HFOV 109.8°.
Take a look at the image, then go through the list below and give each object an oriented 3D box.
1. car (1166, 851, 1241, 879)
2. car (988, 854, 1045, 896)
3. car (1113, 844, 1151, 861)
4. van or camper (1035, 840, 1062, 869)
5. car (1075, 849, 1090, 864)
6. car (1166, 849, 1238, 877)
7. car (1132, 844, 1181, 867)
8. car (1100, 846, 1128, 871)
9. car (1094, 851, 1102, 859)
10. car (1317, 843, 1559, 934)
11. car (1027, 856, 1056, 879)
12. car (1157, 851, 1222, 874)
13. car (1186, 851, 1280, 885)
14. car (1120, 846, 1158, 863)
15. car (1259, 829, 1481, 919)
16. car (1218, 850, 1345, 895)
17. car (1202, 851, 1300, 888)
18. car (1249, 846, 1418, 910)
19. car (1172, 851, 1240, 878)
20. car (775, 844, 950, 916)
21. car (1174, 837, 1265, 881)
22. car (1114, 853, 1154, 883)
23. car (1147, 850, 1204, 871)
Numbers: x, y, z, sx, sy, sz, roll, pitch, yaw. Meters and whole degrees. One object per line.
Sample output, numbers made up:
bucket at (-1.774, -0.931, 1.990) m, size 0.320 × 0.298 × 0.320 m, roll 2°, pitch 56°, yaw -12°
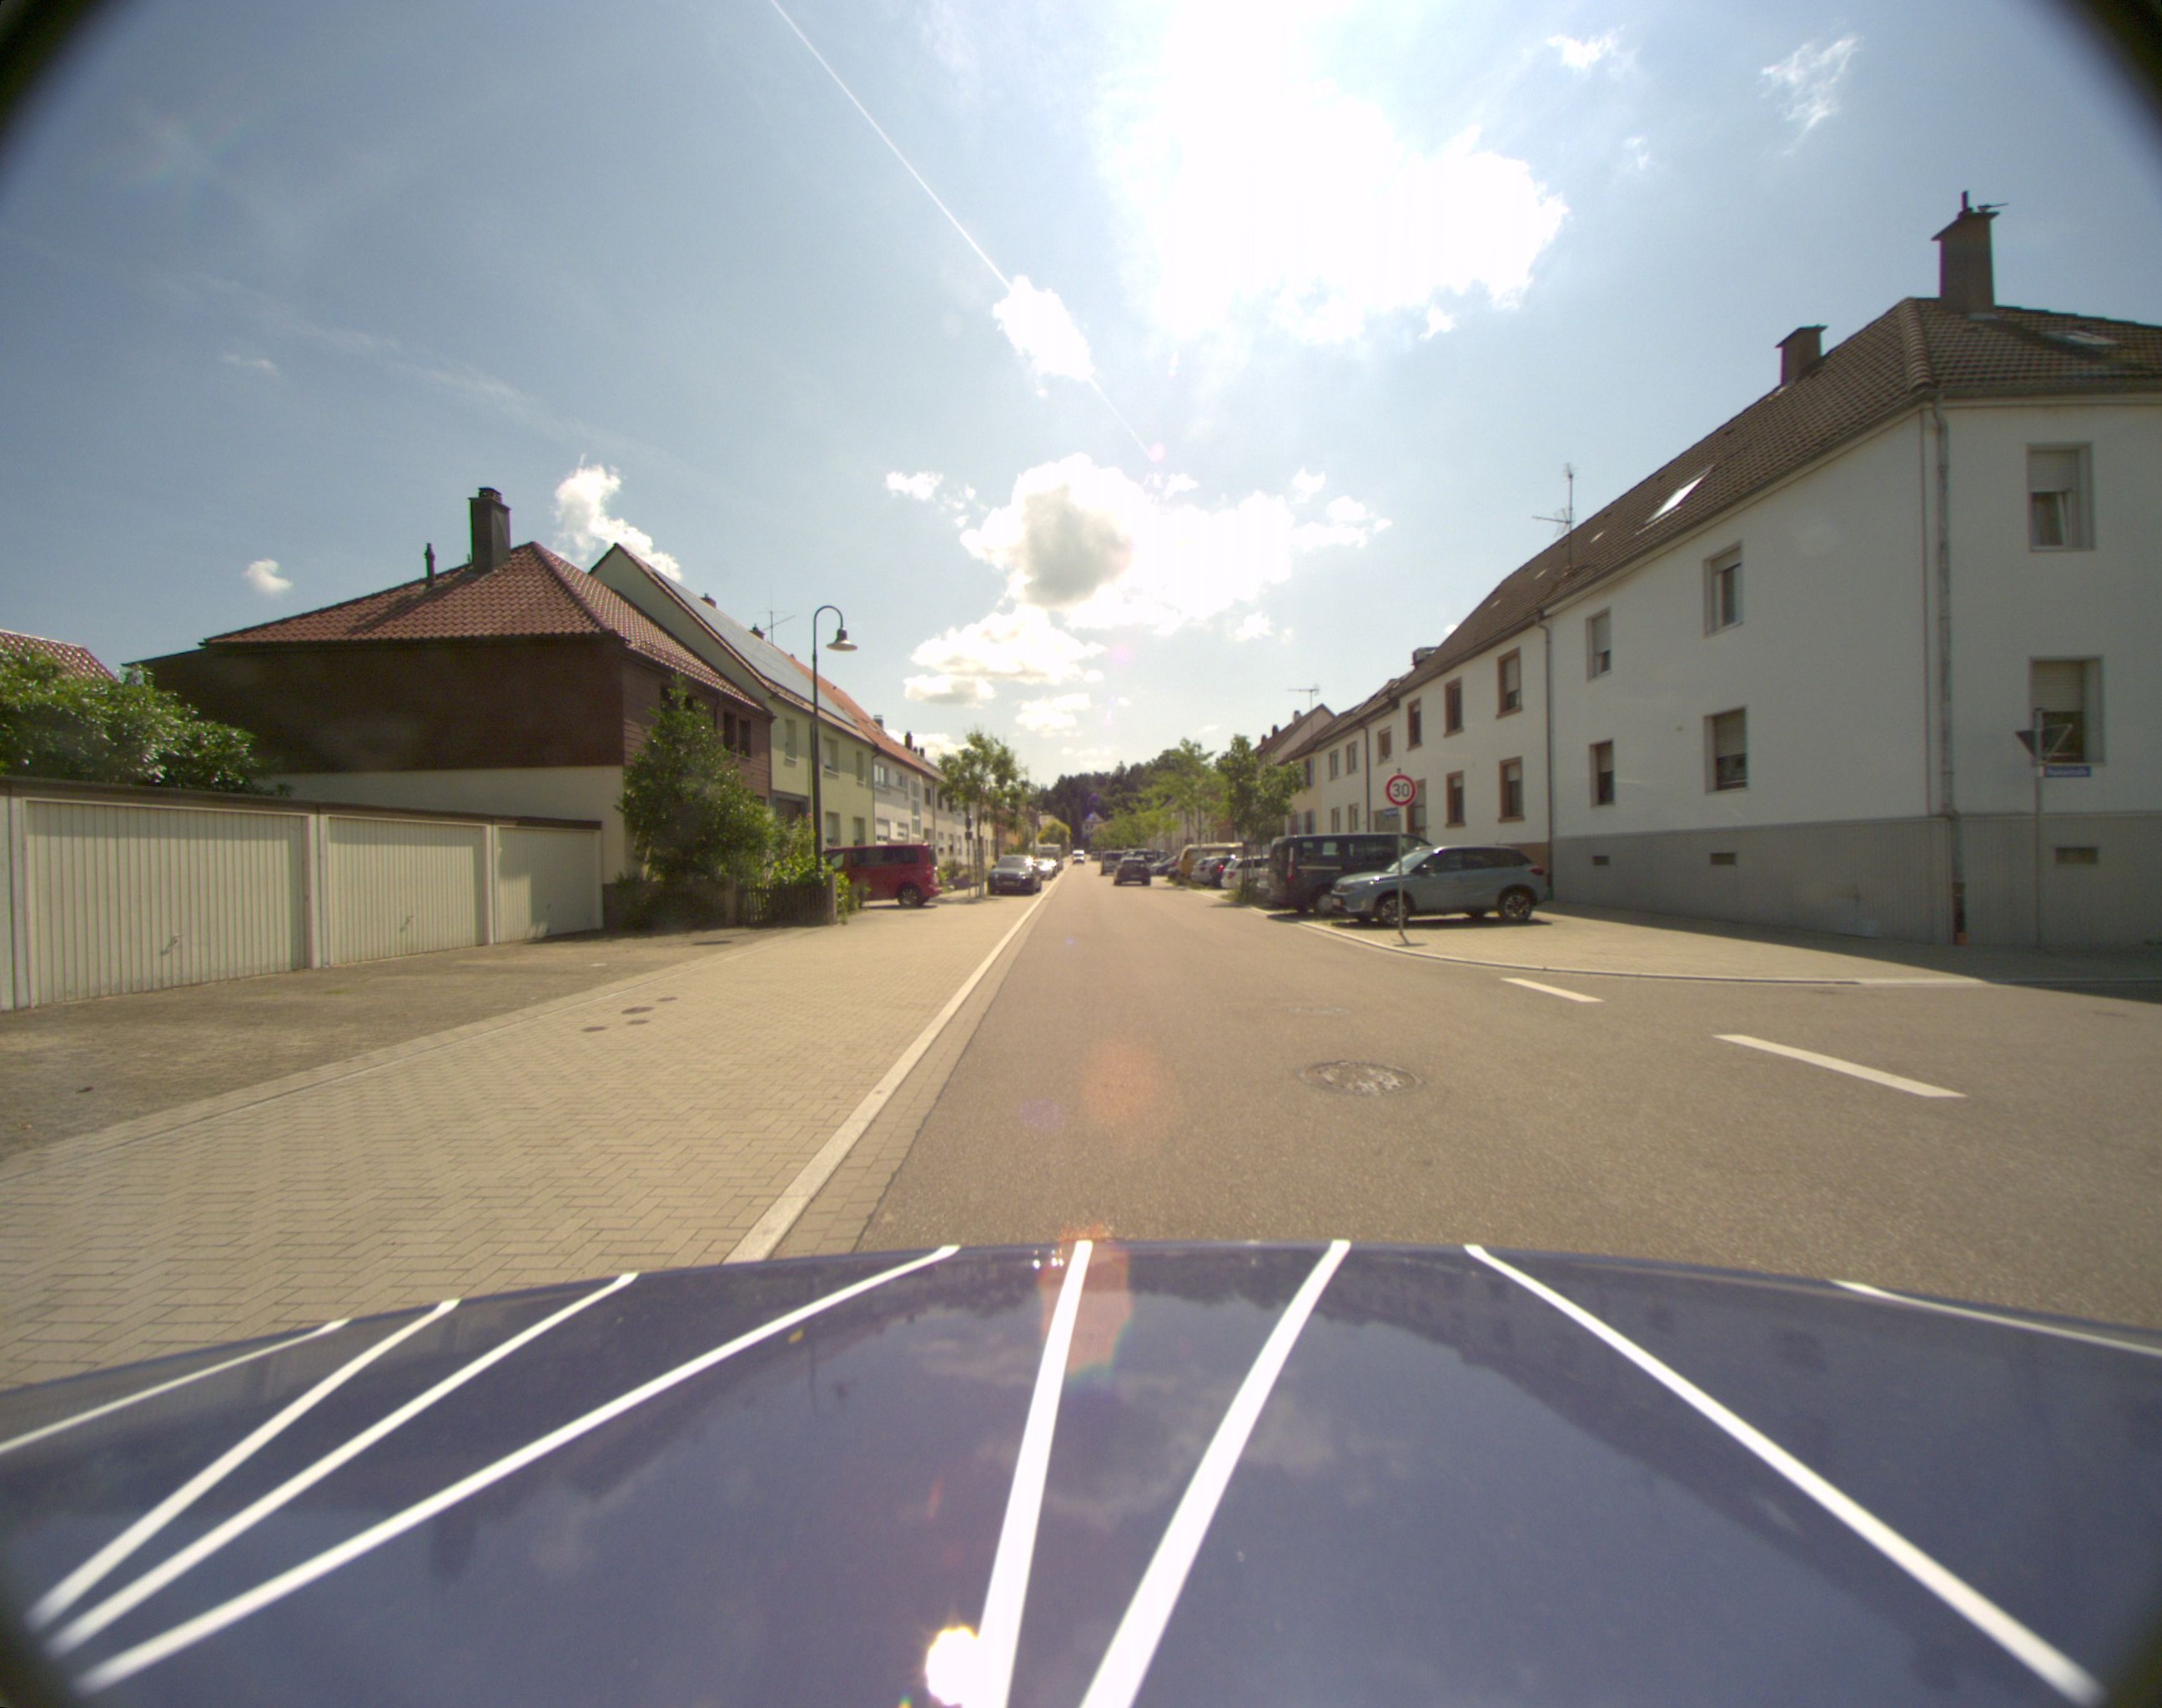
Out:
car at (6.973, 0.611, 43.505) m, size 4.020 × 1.451 × 1.755 m, roll -2°, pitch 1°, yaw 0°
car at (-2.658, 0.852, 32.253) m, size 1.868 × 1.626 × 4.447 m, roll 1°, pitch 0°, yaw 2°
car at (7.506, -0.233, 112.183) m, size 5.180 × 2.275 × 2.157 m, roll -3°, pitch 1°, yaw -2°
van or camper at (-3.157, 0.088, 75.522) m, size 2.479 × 2.793 × 5.790 m, roll 0°, pitch 0°, yaw 0°
car at (0.229, 0.455, 131.228) m, size 2.489 × 2.306 × 5.599 m, roll -3°, pitch 1°, yaw -1°
car at (7.772, 0.583, 49.090) m, size 4.264 × 1.602 × 1.842 m, roll -2°, pitch 1°, yaw -1°
car at (7.345, 0.145, 74.657) m, size 4.624 × 1.985 × 1.953 m, roll -2°, pitch 1°, yaw 2°
car at (2.696, 0.300, 62.646) m, size 2.028 × 1.939 × 4.897 m, roll -1°, pitch 1°, yaw -1°
car at (4.224, 0.225, 189.499) m, size 1.999 × 1.968 × 3.999 m, roll -1°, pitch 1°, yaw -1°
car at (7.350, 0.669, 15.923) m, size 4.186 × 1.610 × 1.772 m, roll -3°, pitch 1°, yaw 0°
car at (-2.691, 0.916, 52.765) m, size 1.837 × 1.457 × 4.518 m, roll -1°, pitch 0°, yaw -2°
car at (7.870, 0.583, 55.430) m, size 4.416 × 1.469 × 1.775 m, roll -2°, pitch 1°, yaw -4°
car at (7.298, 0.647, 36.704) m, size 4.085 × 1.459 × 1.752 m, roll -2°, pitch 1°, yaw -8°
car at (7.283, 0.023, 95.846) m, size 4.688 × 1.896 × 2.000 m, roll -3°, pitch 1°, yaw 1°
car at (7.053, 0.465, 18.908) m, size 4.712 × 1.912 × 1.937 m, roll -3°, pitch 1°, yaw 0°
car at (7.472, 0.683, 28.635) m, size 4.305 × 1.459 × 1.774 m, roll -2°, pitch 1°, yaw 2°
car at (7.537, 0.655, 33.813) m, size 3.891 × 1.459 × 1.657 m, roll -2°, pitch 1°, yaw -8°
car at (7.155, 0.655, 21.762) m, size 4.195 × 1.560 × 1.773 m, roll -3°, pitch 1°, yaw -3°
car at (7.610, 0.617, 46.413) m, size 3.802 × 1.451 × 1.755 m, roll -2°, pitch 1°, yaw -3°
car at (-6.480, 0.746, 22.941) m, size 4.631 × 1.883 × 2.020 m, roll -2°, pitch 1°, yaw -1°
car at (7.483, 0.262, 41.223) m, size 4.520 × 2.164 × 1.925 m, roll -2°, pitch 1°, yaw 0°
car at (2.770, 0.696, 40.440) m, size 1.767 × 1.514 × 4.048 m, roll 0°, pitch 0°, yaw -1°
car at (7.210, 0.489, 58.353) m, size 4.065 × 1.469 × 1.775 m, roll -2°, pitch 1°, yaw -2°
